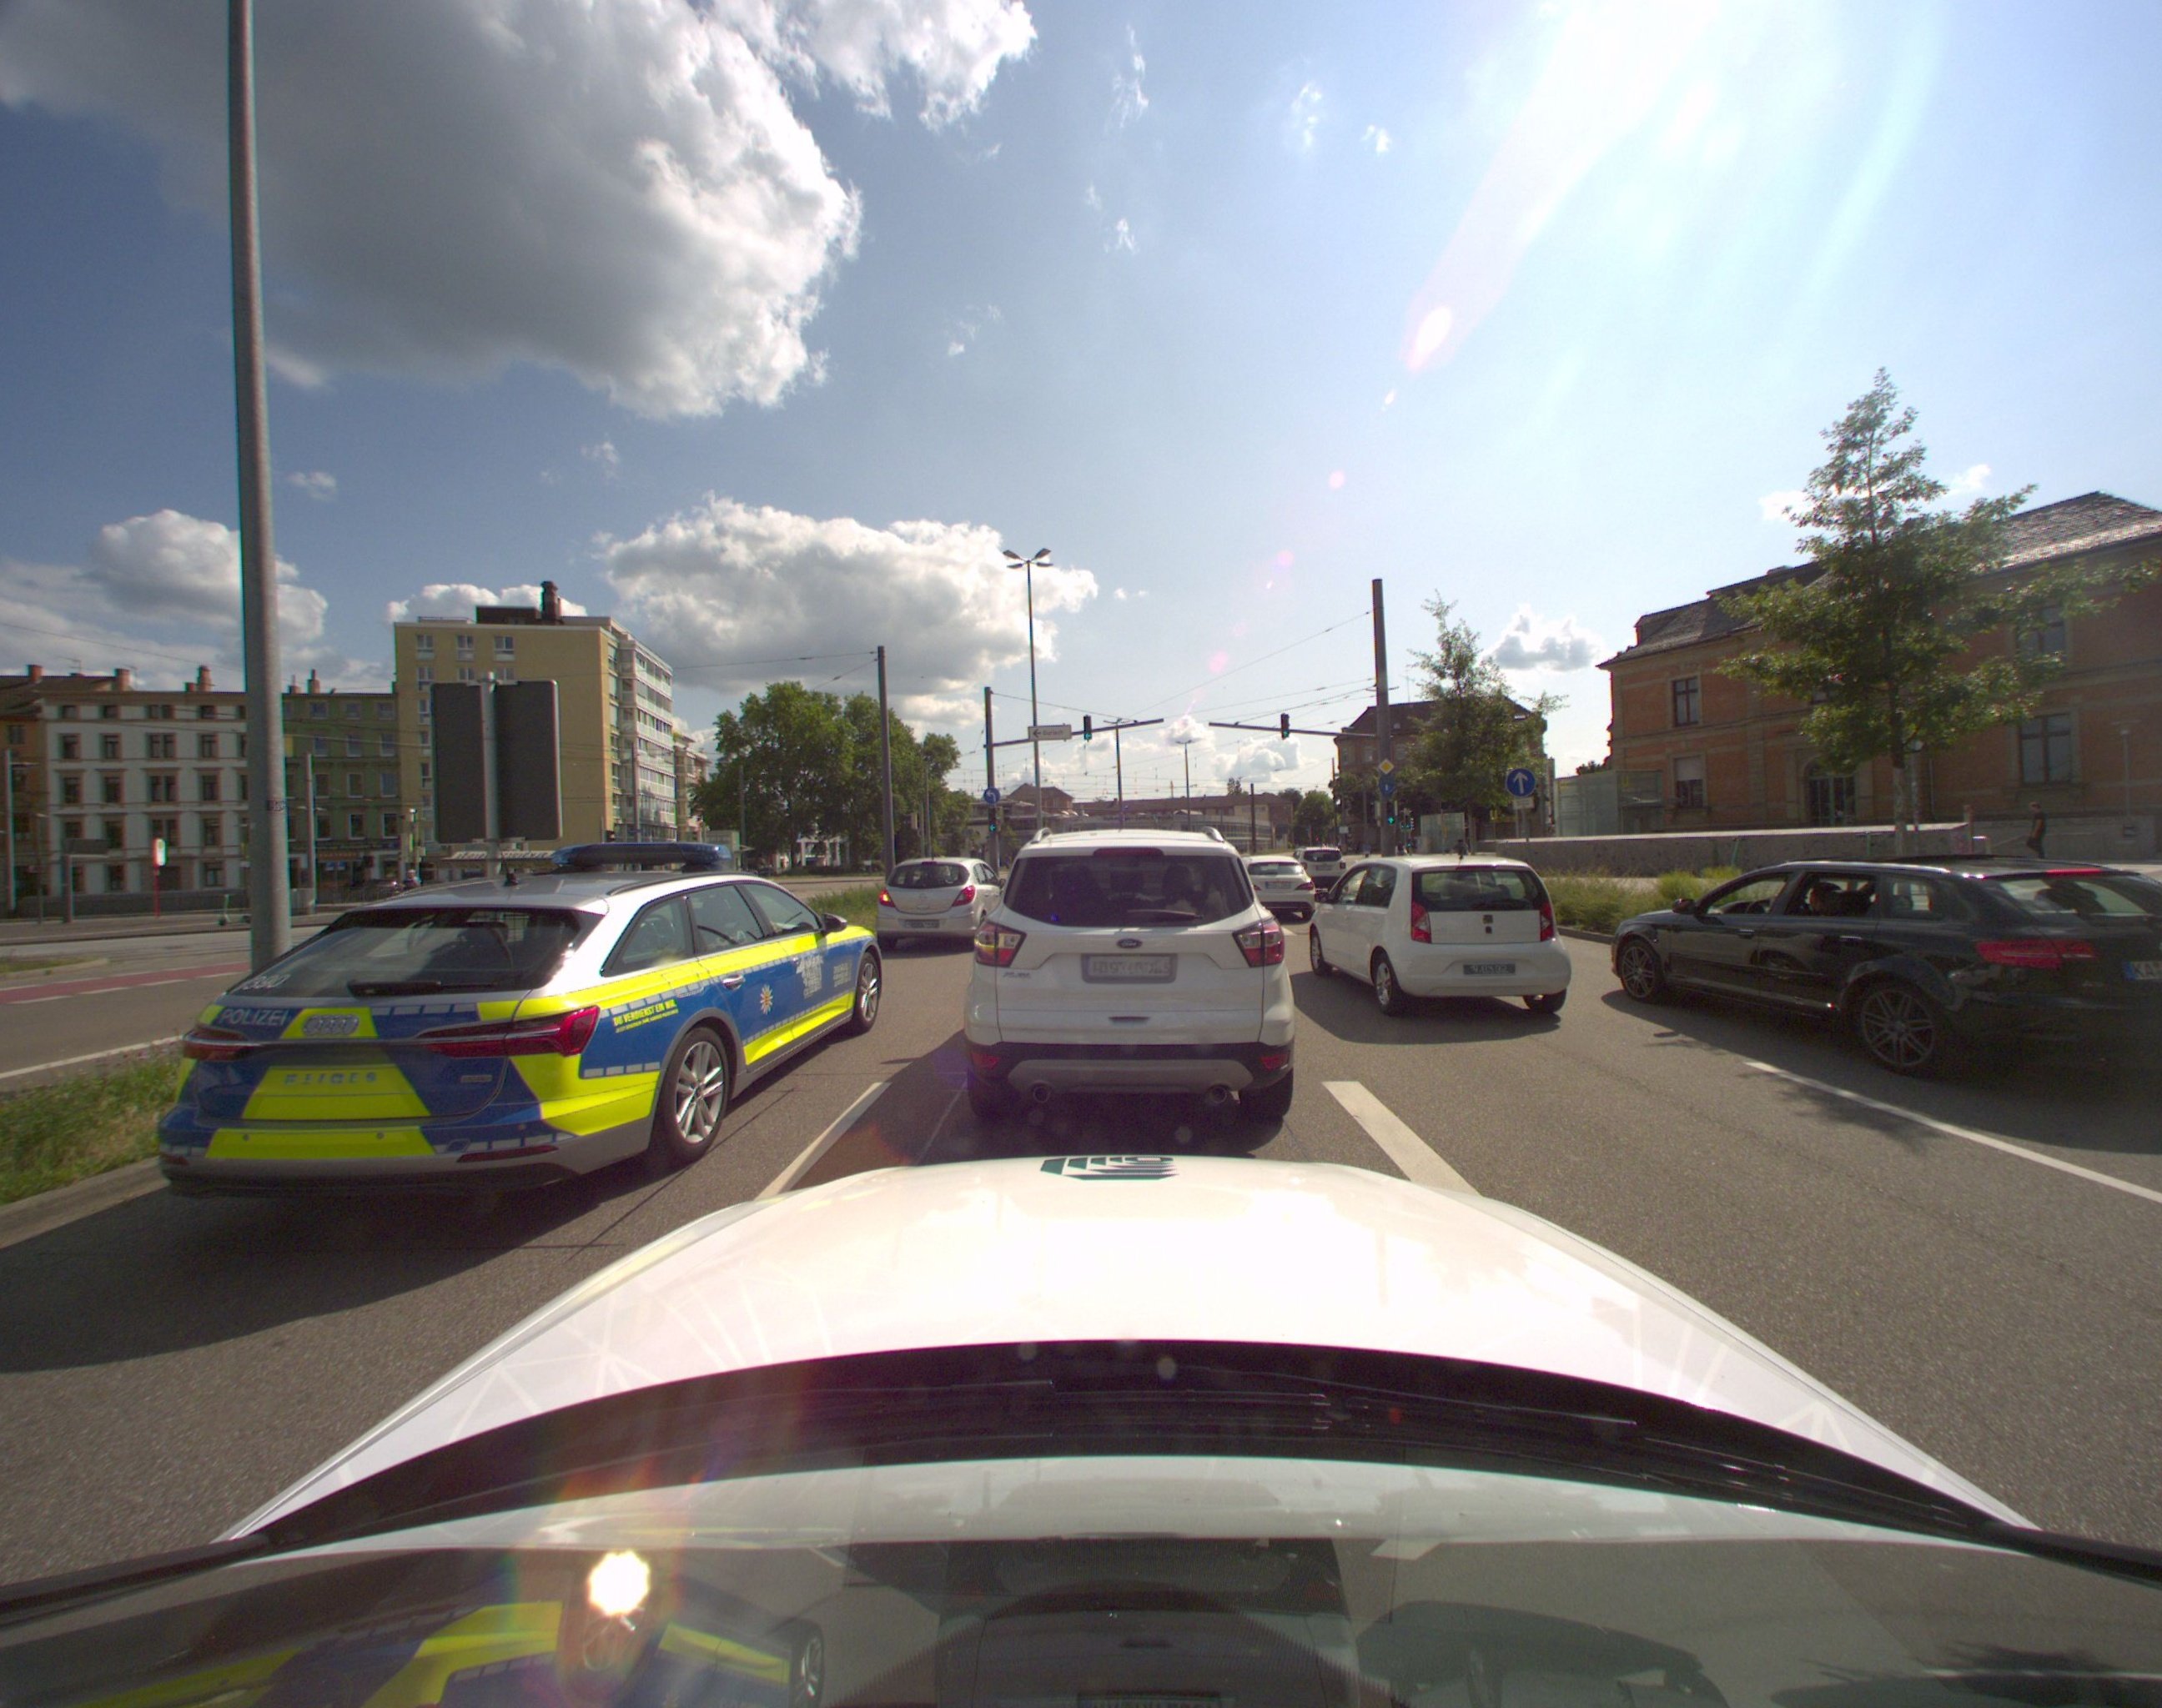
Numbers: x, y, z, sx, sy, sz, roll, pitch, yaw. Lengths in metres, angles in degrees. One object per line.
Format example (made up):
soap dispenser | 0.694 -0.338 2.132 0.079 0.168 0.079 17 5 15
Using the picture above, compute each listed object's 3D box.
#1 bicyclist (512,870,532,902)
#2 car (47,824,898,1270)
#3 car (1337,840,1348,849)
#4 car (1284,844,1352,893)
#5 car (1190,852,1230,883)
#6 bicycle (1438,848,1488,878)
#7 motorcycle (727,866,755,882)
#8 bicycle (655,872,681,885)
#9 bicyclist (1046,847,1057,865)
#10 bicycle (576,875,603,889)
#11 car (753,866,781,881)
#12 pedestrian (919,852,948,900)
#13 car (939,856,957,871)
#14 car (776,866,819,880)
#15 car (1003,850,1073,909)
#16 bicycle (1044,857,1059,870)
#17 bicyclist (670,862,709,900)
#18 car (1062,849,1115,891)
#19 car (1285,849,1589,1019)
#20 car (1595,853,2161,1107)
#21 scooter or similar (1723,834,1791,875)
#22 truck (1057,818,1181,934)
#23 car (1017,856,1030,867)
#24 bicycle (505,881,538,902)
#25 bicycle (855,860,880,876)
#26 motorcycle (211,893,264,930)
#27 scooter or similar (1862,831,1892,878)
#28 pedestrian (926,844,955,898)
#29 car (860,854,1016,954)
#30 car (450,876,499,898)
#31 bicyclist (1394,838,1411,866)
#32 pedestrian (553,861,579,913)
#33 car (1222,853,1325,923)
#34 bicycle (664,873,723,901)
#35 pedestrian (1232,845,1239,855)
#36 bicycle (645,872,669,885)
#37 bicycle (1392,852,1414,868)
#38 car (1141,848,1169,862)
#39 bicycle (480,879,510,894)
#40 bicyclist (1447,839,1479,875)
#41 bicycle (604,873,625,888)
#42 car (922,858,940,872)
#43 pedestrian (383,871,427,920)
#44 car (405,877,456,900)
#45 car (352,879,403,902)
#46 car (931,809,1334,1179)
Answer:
bicyclist | -32.434 1.835 47.280 0.779 1.797 0.706 0 -1 -16
car | -2.757 0.707 5.286 1.873 1.568 4.618 -2 0 2
car | 53.944 -1.971 168.007 1.820 1.652 4.021 -2 -1 22
car | 8.545 0.507 29.684 1.826 1.652 4.009 -1 -1 8
car | 6.346 0.626 40.166 1.839 1.419 3.688 -1 0 9
bicycle | 13.407 0.297 28.660 0.843 0.970 1.962 -5 0 3
motorcycle | -30.458 1.787 72.906 2.193 1.238 0.910 -2 1 19
bicycle | -38.043 2.245 75.015 1.948 1.147 0.792 -2 0 -17
bicyclist | -2.912 0.212 80.686 0.753 1.683 0.764 -3 0 16
bicycle | -42.395 2.401 70.231 1.808 1.104 0.792 -2 0 -18
car | -32.483 2.045 84.406 1.905 1.413 3.986 -3 -1 -10
pedestrian | -5.284 0.790 29.182 0.844 1.648 0.693 -3 -1 1
car | -20.292 1.456 124.341 1.989 2.014 4.227 -4 -1 -2
car | -30.441 2.012 87.501 3.975 1.327 1.632 -3 -1 -1
car | -1.208 0.703 24.780 1.756 1.568 4.528 -2 0 1
bicycle | -2.899 0.917 80.626 0.753 1.192 2.160 -3 0 16
bicyclist | -18.752 1.298 39.054 1.293 1.731 0.994 -3 -1 -1
car | 0.292 0.631 33.580 2.033 1.578 4.538 -1 0 0
car | 3.592 0.686 9.065 1.644 1.422 4.000 -2 0 1
car | 6.219 0.693 6.518 1.692 1.372 4.134 -1 0 2
scooter or similar | 19.395 0.020 23.407 0.466 1.118 1.438 -3 0 -18
truck | 0.953 0.414 18.185 2.328 2.155 5.859 0 0 5
car | -8.625 1.091 122.412 1.814 1.534 3.913 -4 -1 -2
bicycle | -32.410 2.140 47.235 0.889 1.138 2.344 0 -1 -17
bicycle | -19.795 1.326 75.584 2.171 1.414 0.808 -1 0 -14
motorcycle | -30.650 2.093 29.603 1.436 1.236 0.484 -3 -1 3
scooter or similar | 19.693 0.006 20.152 1.326 1.104 0.460 -4 0 -44
pedestrian | -5.162 0.621 29.991 0.844 1.917 0.693 -3 -1 1
car | -2.359 0.765 14.467 1.840 1.474 4.003 -2 0 2
car | -45.965 2.486 61.683 3.849 1.496 1.912 -3 -2 36
bicyclist | 16.999 -0.101 43.105 0.605 1.451 0.775 -2 0 4
pedestrian | -19.080 1.211 30.160 0.770 1.903 0.819 0 -1 -30
car | 4.358 0.723 18.943 1.841 1.419 3.684 -1 0 5
bicycle | -18.555 1.584 39.060 2.286 1.188 0.994 -3 -1 -1
pedestrian | 27.246 -0.631 143.869 0.866 1.737 0.882 -1 -1 37
bicycle | -38.356 2.223 73.718 1.808 1.147 0.792 -2 0 -17
bicycle | 17.031 0.314 43.115 0.582 0.775 1.623 -2 0 4
car | 8.538 0.074 93.684 1.882 1.461 3.991 -3 0 24
bicycle | -49.380 2.743 68.650 1.808 1.104 0.792 -2 0 -18
bicyclist | 13.390 0.093 28.557 0.632 1.220 0.924 -4 0 2
bicycle | -41.317 2.311 72.099 0.792 1.258 1.808 -2 0 -2
car | -22.926 1.646 124.658 1.963 1.937 4.227 -4 -1 -2
pedestrian | -25.202 1.532 30.377 0.761 1.797 1.030 0 -1 6
car | -48.052 2.539 60.119 3.849 1.496 1.912 -3 -2 35
car | -51.473 2.675 59.564 3.849 1.496 1.912 -3 -2 35
car | 0.408 0.648 5.706 1.818 1.664 3.961 -1 0 5
